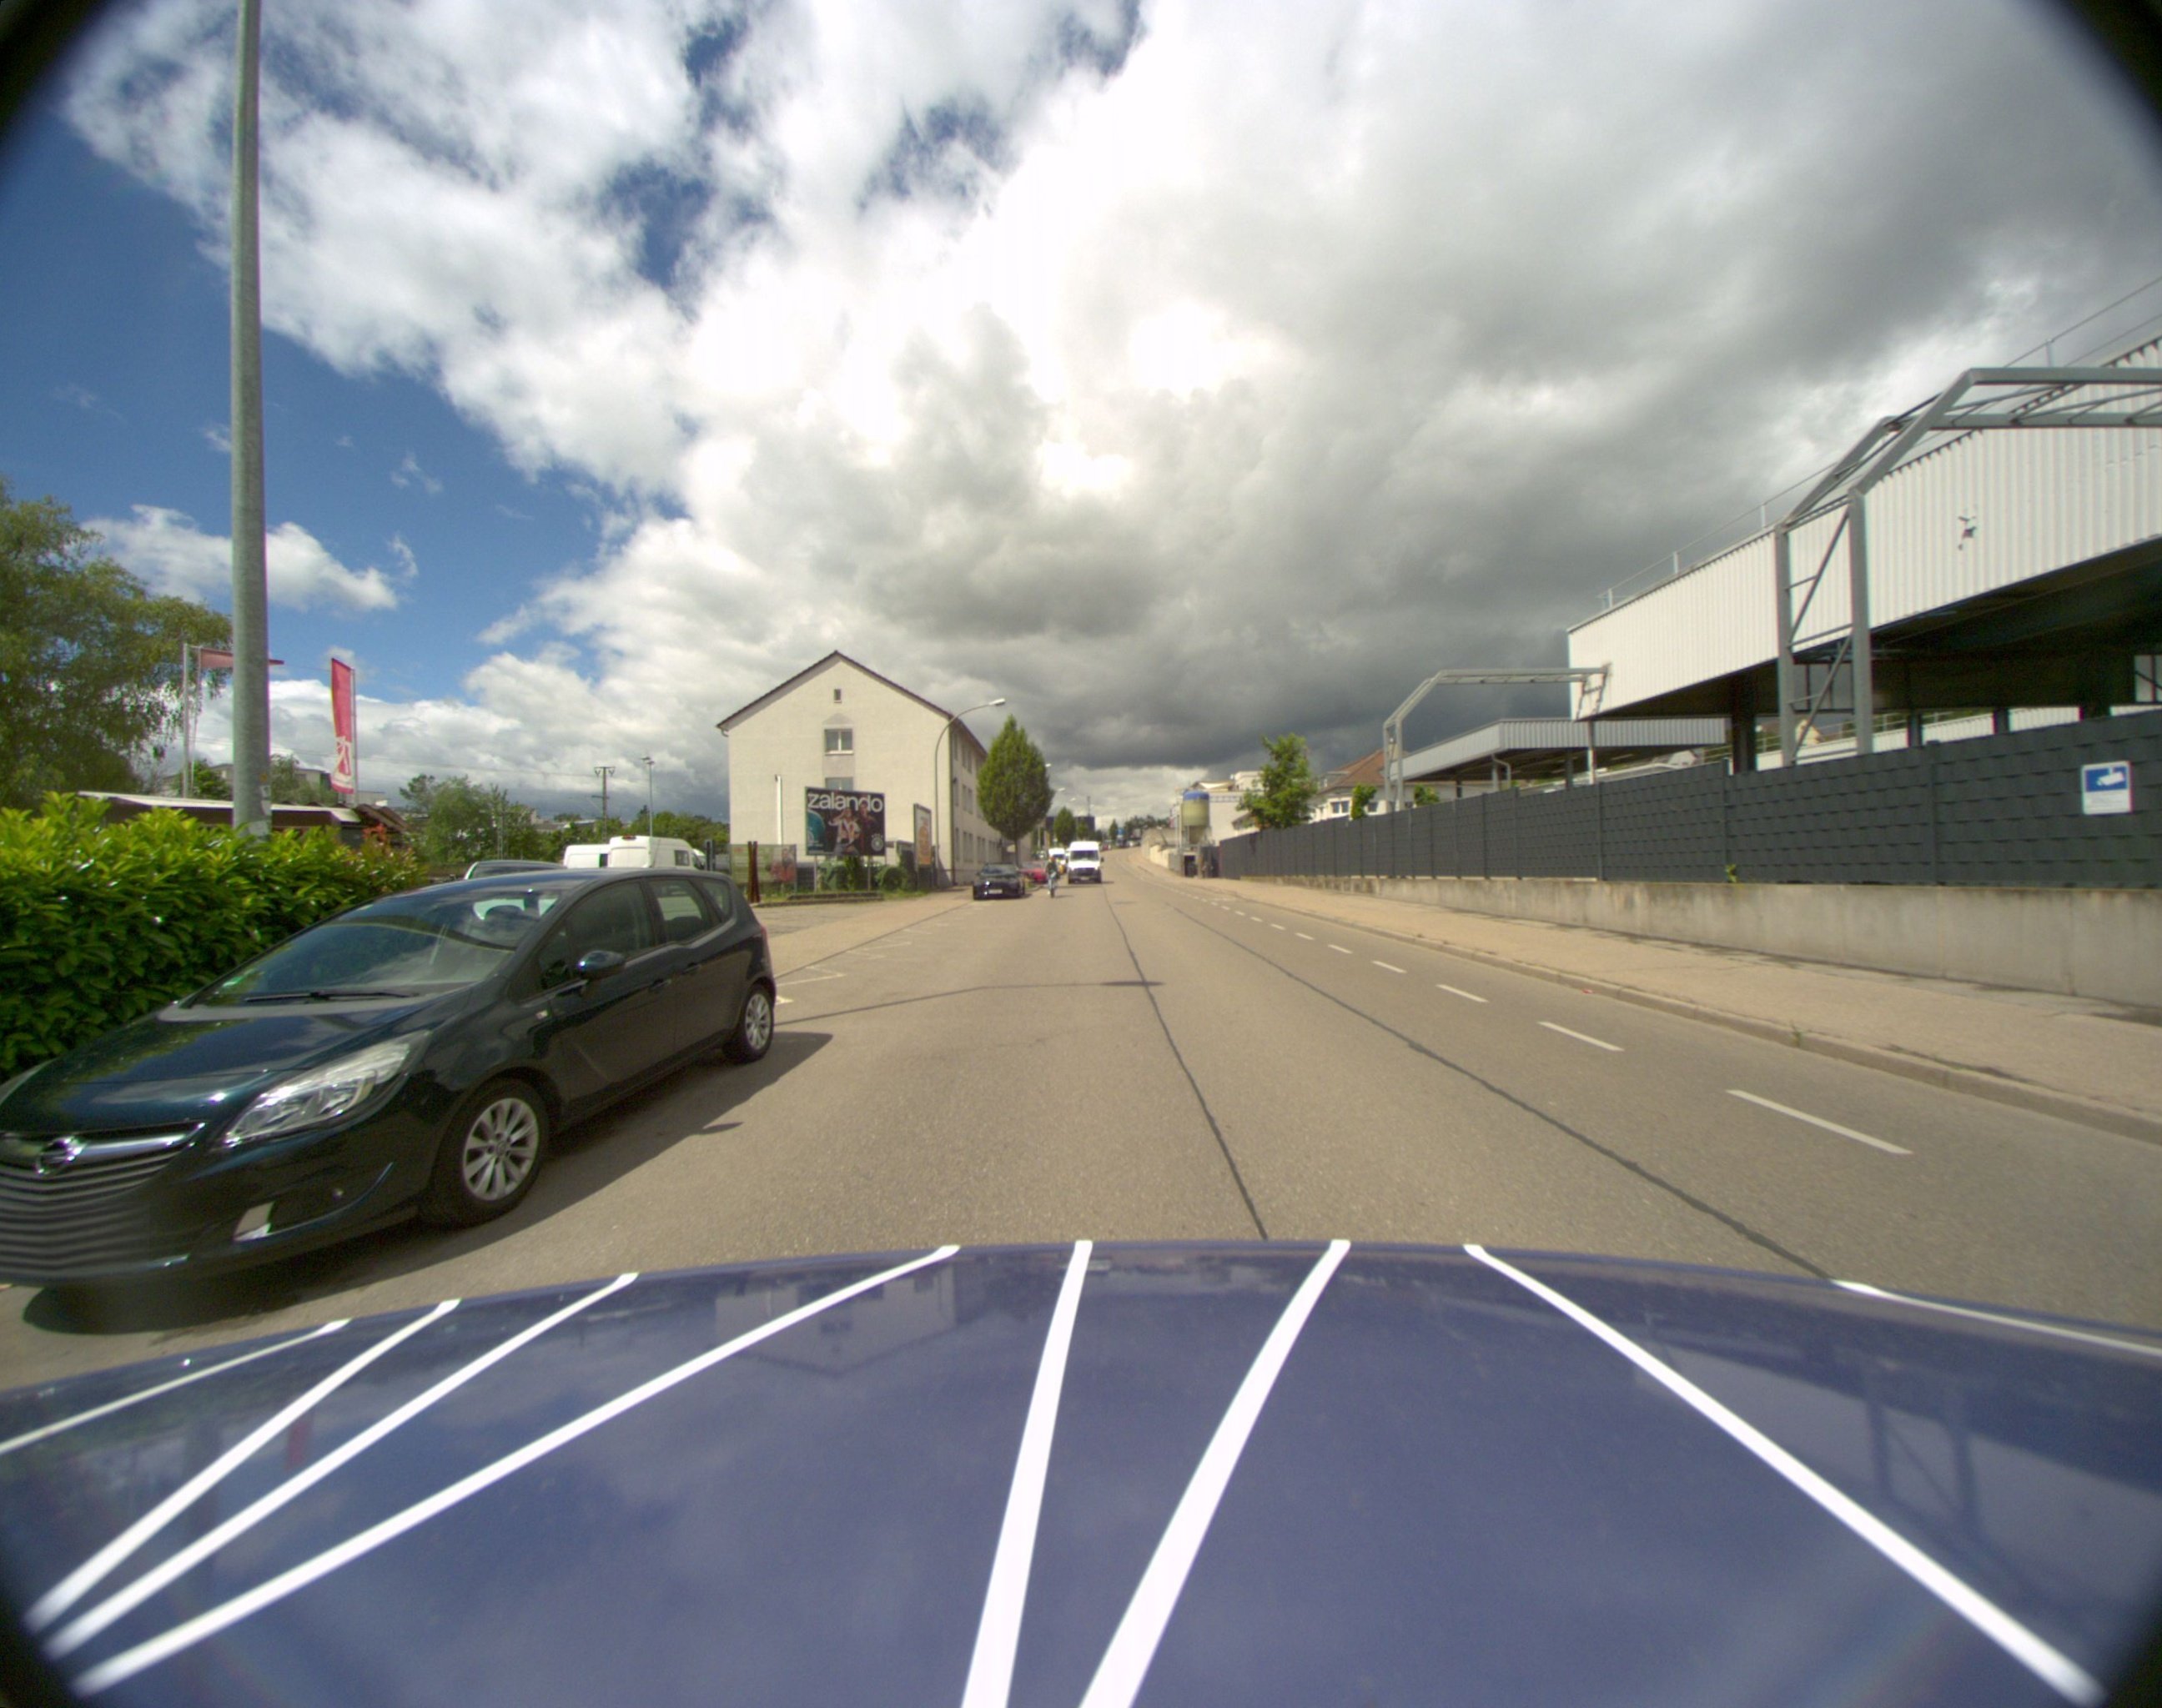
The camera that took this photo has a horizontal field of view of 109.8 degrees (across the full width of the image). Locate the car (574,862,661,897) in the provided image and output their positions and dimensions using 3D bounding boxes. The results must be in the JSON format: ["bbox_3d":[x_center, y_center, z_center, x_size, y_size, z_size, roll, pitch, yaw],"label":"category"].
[{"bbox_3d":[-21.957,1.173,36.176,1.629,1.383,3.868,-1,2,1],"label":"car"}]

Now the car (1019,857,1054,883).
[{"bbox_3d":[-2.708,0.969,46.944,1.739,1.463,4.262,-2,-1,1],"label":"car"}]

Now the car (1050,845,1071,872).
[{"bbox_3d":[-2.172,0.384,81.831,2.038,2.627,7.280,-1,2,0],"label":"car"}]

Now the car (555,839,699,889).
[{"bbox_3d":[-24.335,0.519,40.962,6.180,2.438,2.273,-1,2,-4],"label":"car"}]

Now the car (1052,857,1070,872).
[{"bbox_3d":[-1.975,1.018,75.520,1.596,1.439,3.790,-1,1,2],"label":"car"}]

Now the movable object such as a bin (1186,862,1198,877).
[{"bbox_3d":[10.199,1.419,69.834,0.993,1.385,1.216,1,0,3],"label":"movable object such as a bin"}]

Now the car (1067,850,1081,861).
[{"bbox_3d":[-1.085,0.203,119.248,1.846,1.556,4.465,0,2,3],"label":"car"}]

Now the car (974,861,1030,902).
[{"bbox_3d":[-3.151,1.060,31.135,1.796,1.457,4.707,-1,0,0],"label":"car"}]

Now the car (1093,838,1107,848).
[{"bbox_3d":[4.121,-2.348,162.126,1.978,1.993,5.550,-1,1,12],"label":"car"}]

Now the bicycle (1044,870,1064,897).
[{"bbox_3d":[-1.037,1.147,29.600,0.742,0.969,1.732,-1,0,-1],"label":"bicycle"}]

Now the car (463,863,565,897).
[{"bbox_3d":[-27.298,1.228,36.764,1.812,1.355,3.999,-1,2,1],"label":"car"}]

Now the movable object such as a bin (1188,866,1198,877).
[{"bbox_3d":[10.125,1.583,68.860,0.874,1.044,0.741,1,0,5],"label":"movable object such as a bin"}]

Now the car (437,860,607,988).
[{"bbox_3d":[-8.365,0.891,11.376,1.729,1.454,4.063,2,0,-38],"label":"car"}]

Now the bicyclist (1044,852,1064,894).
[{"bbox_3d":[-1.040,0.729,29.702,0.741,1.617,0.731,-1,2,-2],"label":"bicyclist"}]

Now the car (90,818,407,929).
[{"bbox_3d":[-23.747,0.483,22.115,2.060,2.827,5.988,1,1,43],"label":"car"}]

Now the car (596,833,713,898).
[{"bbox_3d":[-19.664,0.420,35.433,2.282,2.752,5.454,-1,2,0],"label":"car"}]

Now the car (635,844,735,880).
[{"bbox_3d":[-24.114,0.479,46.423,4.964,2.024,1.999,-1,2,-1],"label":"car"}]

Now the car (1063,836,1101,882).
[{"bbox_3d":[0.116,0.210,47.119,2.082,2.576,6.061,-1,2,2],"label":"car"}]

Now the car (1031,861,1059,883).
[{"bbox_3d":[-2.507,1.251,54.245,1.739,1.415,4.861,-2,-1,0],"label":"car"}]

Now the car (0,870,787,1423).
[{"bbox_3d":[-3.465,0.979,4.463,1.683,1.628,4.123,-1,0,3],"label":"car"}]
